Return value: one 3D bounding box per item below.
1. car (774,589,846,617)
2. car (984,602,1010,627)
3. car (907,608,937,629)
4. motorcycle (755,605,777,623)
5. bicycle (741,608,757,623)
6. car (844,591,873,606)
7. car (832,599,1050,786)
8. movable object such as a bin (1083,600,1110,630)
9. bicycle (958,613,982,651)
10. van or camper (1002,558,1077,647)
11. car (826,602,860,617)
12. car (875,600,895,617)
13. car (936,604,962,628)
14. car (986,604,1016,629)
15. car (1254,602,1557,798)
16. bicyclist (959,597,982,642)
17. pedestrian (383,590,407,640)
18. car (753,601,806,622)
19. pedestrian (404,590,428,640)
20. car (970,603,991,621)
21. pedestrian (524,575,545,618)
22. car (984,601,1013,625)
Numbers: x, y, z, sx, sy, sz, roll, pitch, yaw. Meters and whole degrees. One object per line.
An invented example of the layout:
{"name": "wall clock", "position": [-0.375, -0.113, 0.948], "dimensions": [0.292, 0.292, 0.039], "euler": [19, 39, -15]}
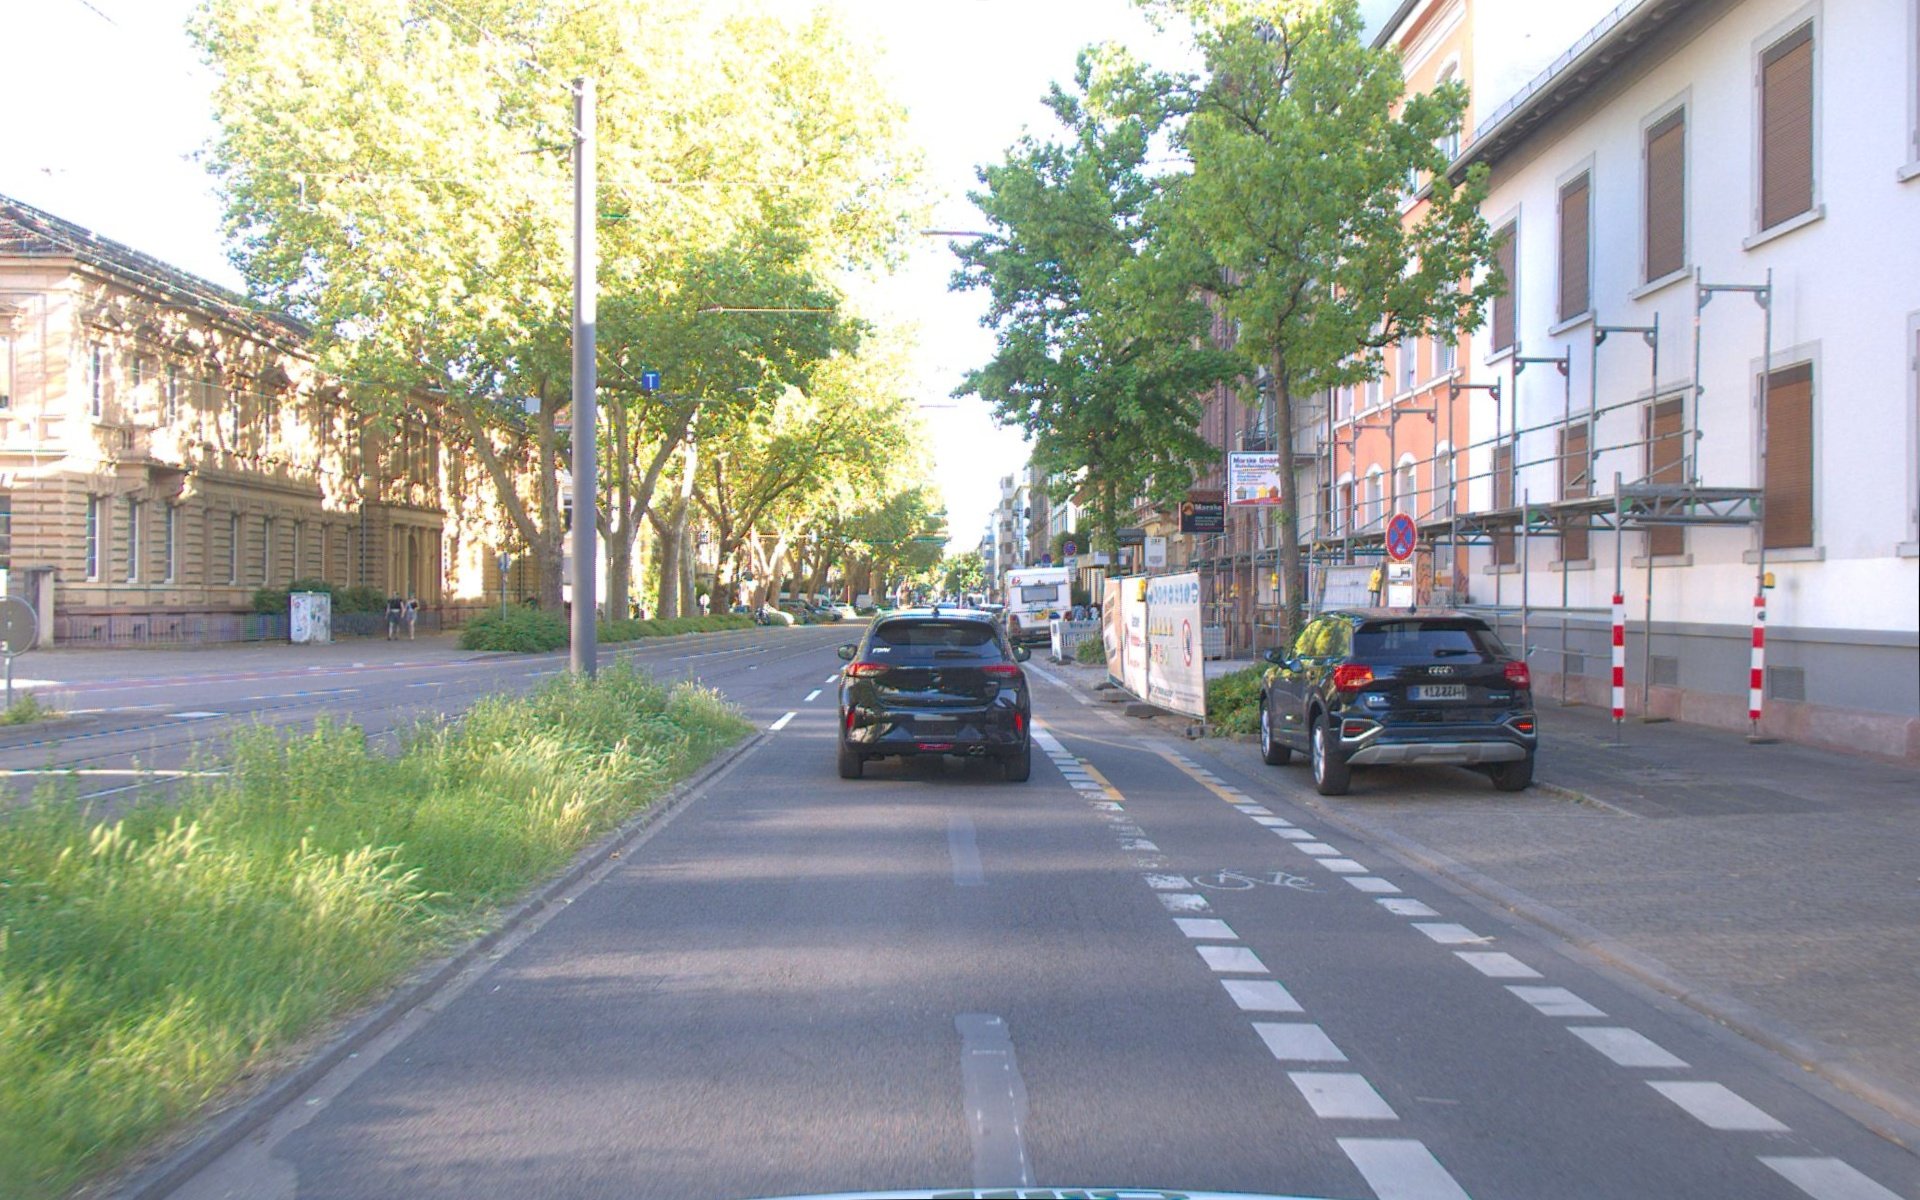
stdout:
{"name": "car", "position": [-14.227, 0.311, 157.183], "dimensions": [6.493, 2.451, 2.457], "euler": [2, -1, 0]}
{"name": "car", "position": [2.397, 0.916, 107.437], "dimensions": [1.601, 1.574, 3.576], "euler": [-1, 0, 1]}
{"name": "car", "position": [-2.447, 1.189, 107.694], "dimensions": [1.772, 1.362, 3.933], "euler": [1, 0, 1]}
{"name": "motorcycle", "position": [-12.693, 0.912, 108.204], "dimensions": [0.865, 1.167, 2.392], "euler": [1, 0, 7]}
{"name": "bicycle", "position": [-13.778, 1.027, 108.149], "dimensions": [0.529, 0.957, 2.035], "euler": [1, 0, 7]}
{"name": "car", "position": [-13.412, -0.195, 218.552], "dimensions": [3.842, 1.821, 1.676], "euler": [2, -1, -3]}
{"name": "car", "position": [-0.174, 0.756, 15.266], "dimensions": [1.757, 1.466, 3.531], "euler": [1, 0, -1]}
{"name": "movable object such as a bin", "position": [7.166, 0.769, 86.707], "dimensions": [1.267, 1.547, 1.286], "euler": [1, 0, -1]}
{"name": "bicycle", "position": [0.382, 1.236, 65.045], "dimensions": [0.843, 1.431, 2.523], "euler": [1, 0, -2]}
{"name": "van or camper", "position": [2.892, 0.094, 62.351], "dimensions": [2.426, 3.024, 7.884], "euler": [-3, 0, 1]}
{"name": "car", "position": [-13.286, 1.073, 188.154], "dimensions": [3.842, 1.524, 1.676], "euler": [2, -1, -3]}
{"name": "car", "position": [-7.535, 0.873, 167.152], "dimensions": [1.828, 1.658, 4.559], "euler": [0, 1, -1]}
{"name": "car", "position": [-0.775, 1.152, 120.607], "dimensions": [1.772, 1.773, 3.933], "euler": [0, 0, 1]}
{"name": "car", "position": [2.346, 0.935, 95.329], "dimensions": [1.659, 1.417, 4.495], "euler": [-1, 0, 1]}
{"name": "car", "position": [3.867, 0.788, 15.070], "dimensions": [1.727, 1.509, 4.110], "euler": [-1, 0, 1]}
{"name": "bicyclist", "position": [0.400, 0.763, 65.049], "dimensions": [0.831, 1.770, 1.161], "euler": [1, 0, -2]}
{"name": "pedestrian", "position": [-19.726, 0.516, 57.776], "dimensions": [0.658, 1.727, 0.661], "euler": [1, -1, -8]}
{"name": "car", "position": [-13.975, 0.906, 128.021], "dimensions": [3.840, 1.467, 1.748], "euler": [2, -1, 0]}
{"name": "pedestrian", "position": [-19.039, 0.528, 57.891], "dimensions": [0.622, 1.727, 0.655], "euler": [1, -1, -8]}
{"name": "car", "position": [1.863, 1.056, 147.486], "dimensions": [1.669, 1.481, 3.698], "euler": [-3, 0, 3]}
{"name": "pedestrian", "position": [-19.083, -0.164, 74.198], "dimensions": [0.704, 1.882, 0.837], "euler": [1, -1, 0]}
{"name": "car", "position": [2.737, 0.919, 118.261], "dimensions": [1.842, 1.613, 3.932], "euler": [-3, 0, -1]}
